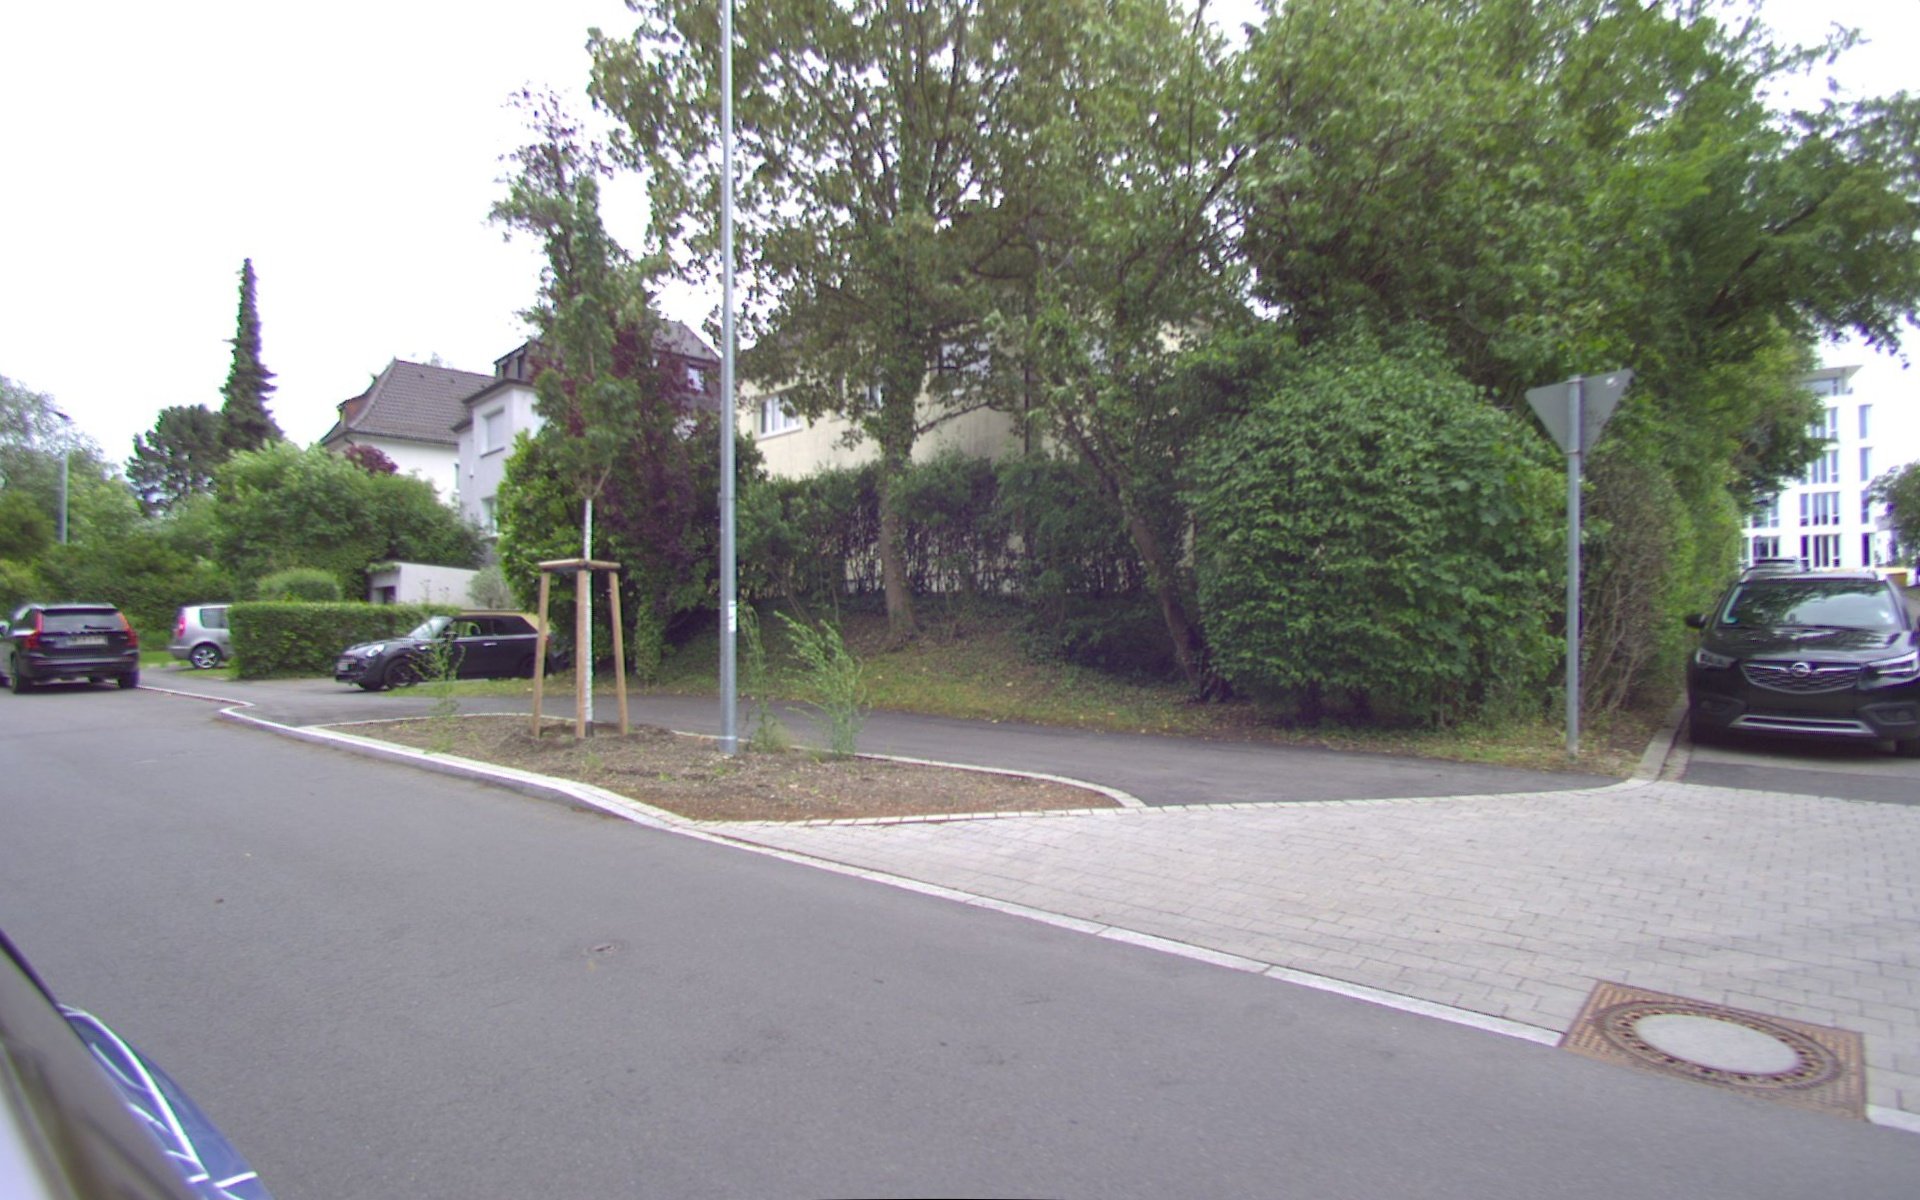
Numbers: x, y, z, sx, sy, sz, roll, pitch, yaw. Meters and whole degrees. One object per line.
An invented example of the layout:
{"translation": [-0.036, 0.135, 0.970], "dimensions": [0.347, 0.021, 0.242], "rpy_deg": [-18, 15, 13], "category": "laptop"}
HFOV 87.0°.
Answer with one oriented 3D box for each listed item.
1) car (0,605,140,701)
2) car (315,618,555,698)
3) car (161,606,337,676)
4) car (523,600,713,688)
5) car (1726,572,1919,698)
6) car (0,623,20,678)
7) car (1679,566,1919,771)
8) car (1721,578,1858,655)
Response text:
{"translation": [-18.958, 1.026, 21.152], "dimensions": [5.186, 1.750, 1.954], "rpy_deg": [-1, -1, 41], "category": "car"}
{"translation": [-10.122, 1.076, 19.696], "dimensions": [1.777, 1.396, 3.782], "rpy_deg": [-3, -3, 41], "category": "car"}
{"translation": [-18.527, 1.018, 26.411], "dimensions": [3.645, 1.650, 1.831], "rpy_deg": [0, -1, -39], "category": "car"}
{"translation": [-7.749, 1.048, 23.106], "dimensions": [2.010, 1.807, 3.507], "rpy_deg": [-2, -5, 44], "category": "car"}
{"translation": [11.971, 0.390, 14.210], "dimensions": [1.866, 1.505, 3.949], "rpy_deg": [-1, 1, 38], "category": "car"}
{"translation": [-27.358, 1.365, 27.789], "dimensions": [4.895, 1.423, 1.736], "rpy_deg": [-1, -1, 41], "category": "car"}
{"translation": [8.395, 0.501, 9.795], "dimensions": [1.868, 1.605, 3.944], "rpy_deg": [-1, 1, 42], "category": "car"}
{"translation": [15.861, 0.274, 19.363], "dimensions": [1.867, 1.301, 3.482], "rpy_deg": [-1, 1, 41], "category": "car"}
